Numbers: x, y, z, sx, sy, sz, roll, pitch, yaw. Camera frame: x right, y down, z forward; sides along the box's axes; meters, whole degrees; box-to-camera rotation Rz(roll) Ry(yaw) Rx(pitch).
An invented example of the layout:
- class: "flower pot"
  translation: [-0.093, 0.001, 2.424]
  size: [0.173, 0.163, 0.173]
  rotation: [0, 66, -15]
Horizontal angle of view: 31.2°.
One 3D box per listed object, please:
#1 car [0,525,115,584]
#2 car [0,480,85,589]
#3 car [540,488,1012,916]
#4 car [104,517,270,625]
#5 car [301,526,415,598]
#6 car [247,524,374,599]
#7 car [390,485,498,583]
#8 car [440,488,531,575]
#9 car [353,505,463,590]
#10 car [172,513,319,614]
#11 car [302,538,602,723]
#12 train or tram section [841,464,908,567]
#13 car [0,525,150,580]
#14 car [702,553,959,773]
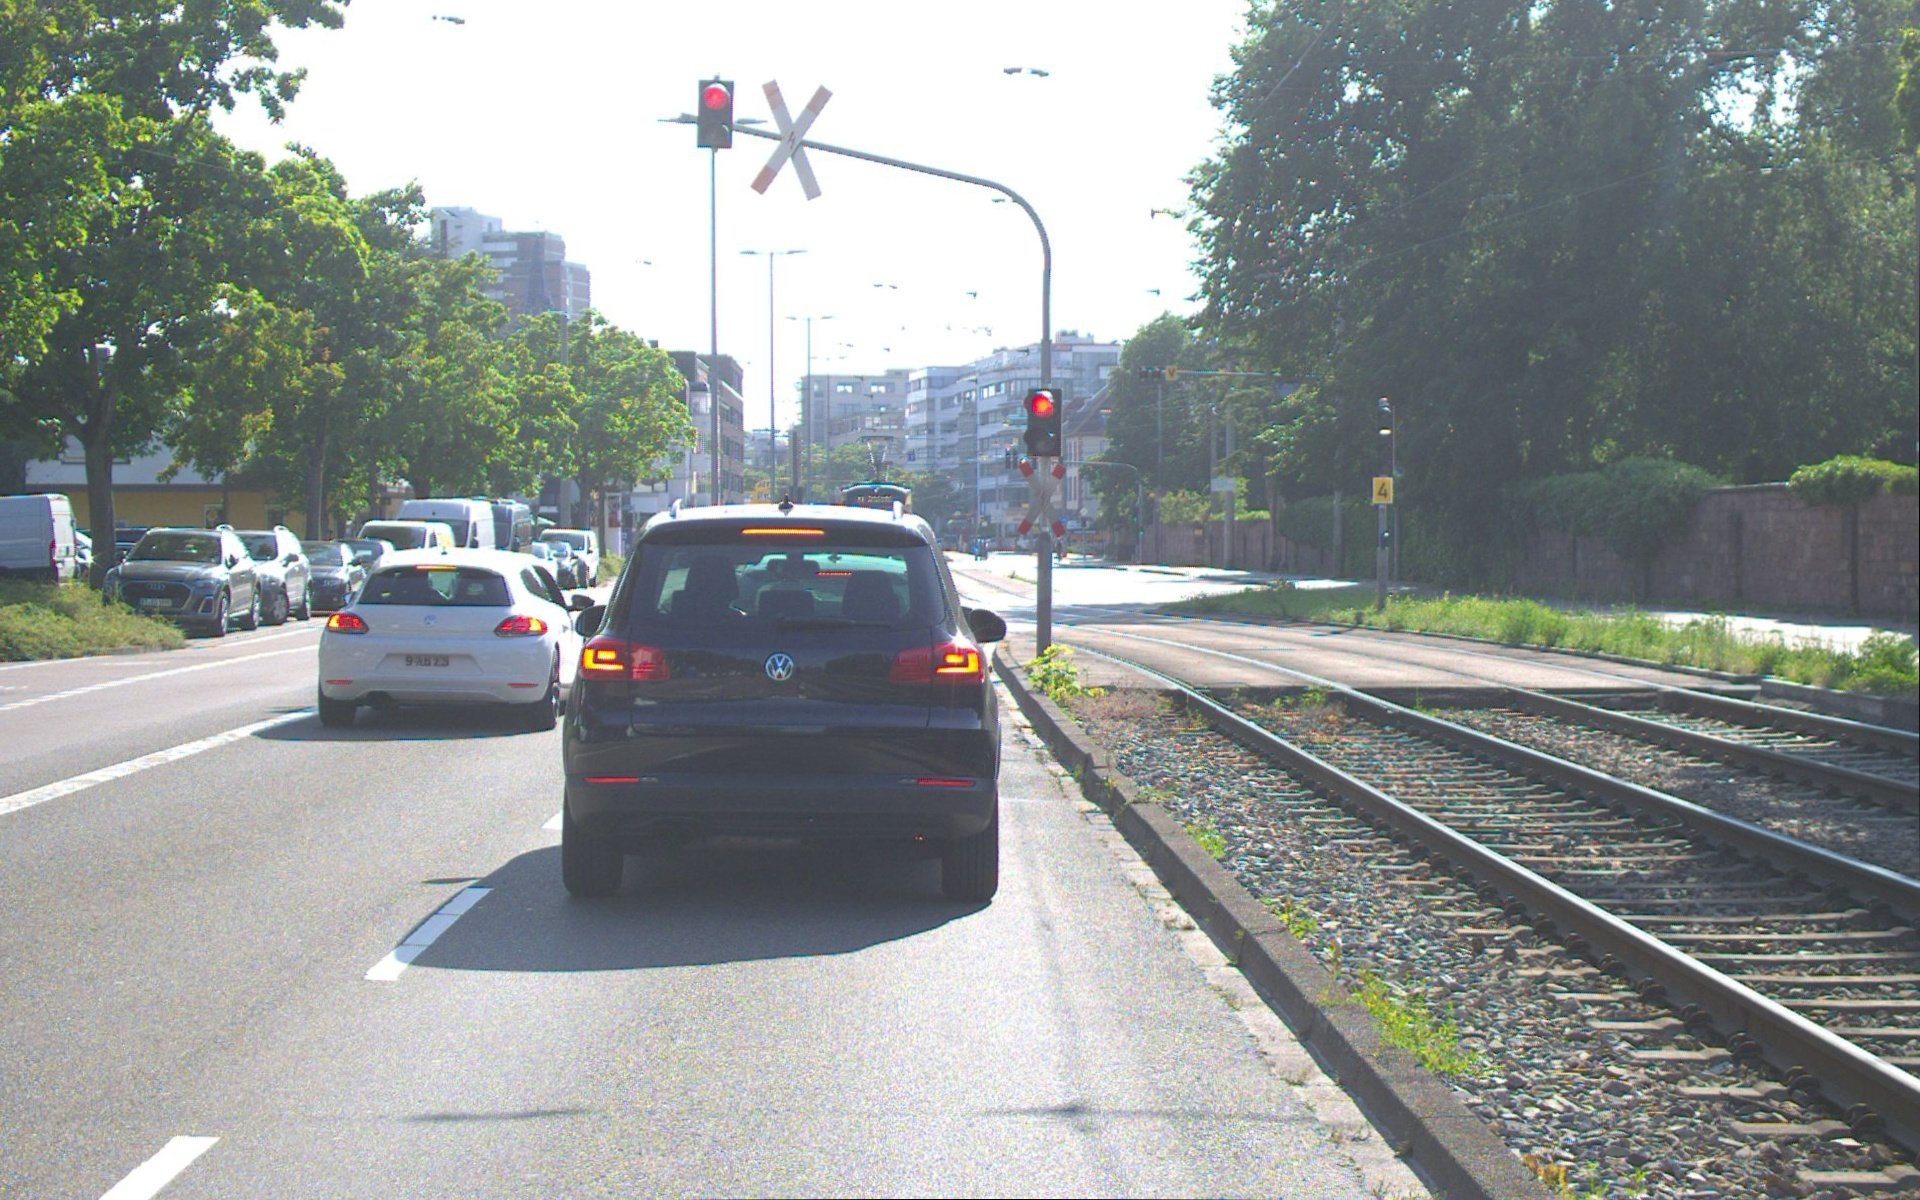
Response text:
- class: "car"
  translation: [-22.686, -1.104, 83.419]
  size: [3.986, 1.392, 1.738]
  rotation: [0, 1, -4]
- class: "car"
  translation: [-22.802, -1.480, 77.974]
  size: [5.375, 2.415, 2.088]
  rotation: [0, 1, -1]
- class: "car"
  translation: [-0.747, 0.365, 15.391]
  size: [1.811, 1.639, 4.000]
  rotation: [1, 1, -1]
- class: "car"
  translation: [-12.354, -0.495, 55.162]
  size: [1.732, 1.652, 4.000]
  rotation: [0, 1, 0]
- class: "car"
  translation: [-12.744, -0.826, 72.930]
  size: [1.732, 1.445, 3.735]
  rotation: [0, 2, 0]
- class: "car"
  translation: [-12.630, -0.771, 67.044]
  size: [1.732, 1.384, 3.735]
  rotation: [0, 2, 0]
- class: "car"
  translation: [-12.709, -1.636, 84.912]
  size: [1.863, 2.339, 4.985]
  rotation: [0, 1, 0]
- class: "car"
  translation: [-12.623, -1.829, 91.739]
  size: [1.732, 2.261, 4.645]
  rotation: [0, 1, 0]
- class: "car"
  translation: [-12.523, -1.217, 78.244]
  size: [1.732, 1.853, 4.489]
  rotation: [0, 1, 0]
- class: "car"
  translation: [-12.607, -0.674, 60.860]
  size: [1.732, 1.689, 4.000]
  rotation: [0, 2, 0]
- class: "car"
  translation: [-3.999, 0.191, 27.655]
  size: [1.864, 1.343, 4.000]
  rotation: [1, 1, -1]
- class: "train or tram section"
  translation: [-3.044, -3.053, 124.326]
  size: [2.326, 3.558, 8.901]
  rotation: [0, 1, -1]
- class: "car"
  translation: [-23.111, -1.229, 88.886]
  size: [3.986, 1.392, 1.738]
  rotation: [0, 1, -4]
- class: "car"
  translation: [-0.872, 0.381, 24.369]
  size: [1.669, 1.382, 4.000]
  rotation: [0, 1, -1]
